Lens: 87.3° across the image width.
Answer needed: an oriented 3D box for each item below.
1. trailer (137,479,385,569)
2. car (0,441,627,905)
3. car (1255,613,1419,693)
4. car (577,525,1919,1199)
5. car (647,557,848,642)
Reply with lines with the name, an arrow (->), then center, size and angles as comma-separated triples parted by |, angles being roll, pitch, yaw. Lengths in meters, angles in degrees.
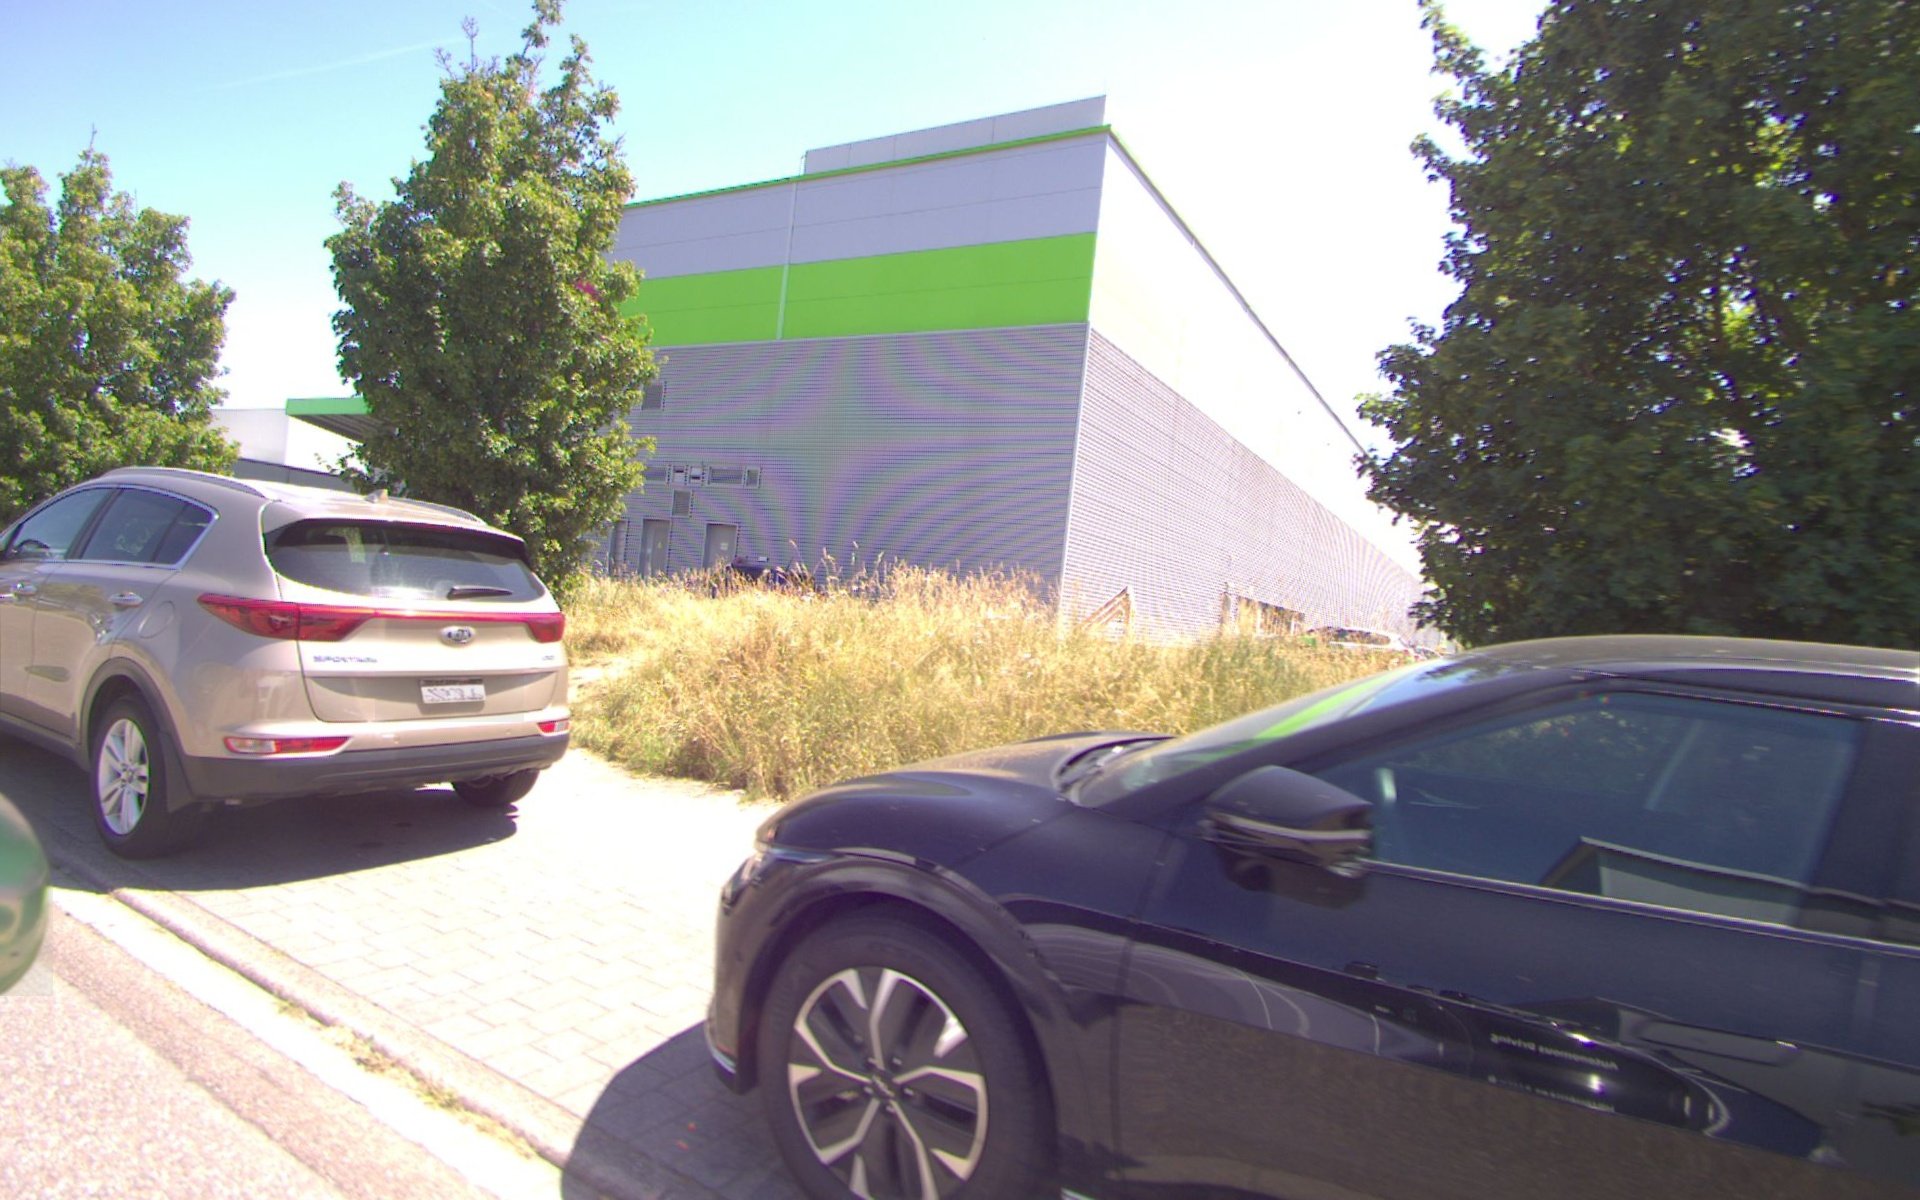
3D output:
trailer -> -43.513, -4.571, 63.429 | 2.758, 3.922, 12.634 | 5, -1, 31
car -> -4.100, 0.115, 5.528 | 4.383, 1.657, 1.805 | 6, 2, 31
car -> 11.691, 1.600, 31.258 | 4.327, 1.809, 1.995 | 8, 2, 31
car -> 1.526, 0.826, 2.347 | 4.549, 1.549, 1.906 | 6, 2, 27
car -> -5.000, -0.021, 23.562 | 4.327, 1.518, 1.995 | 6, 0, 31
